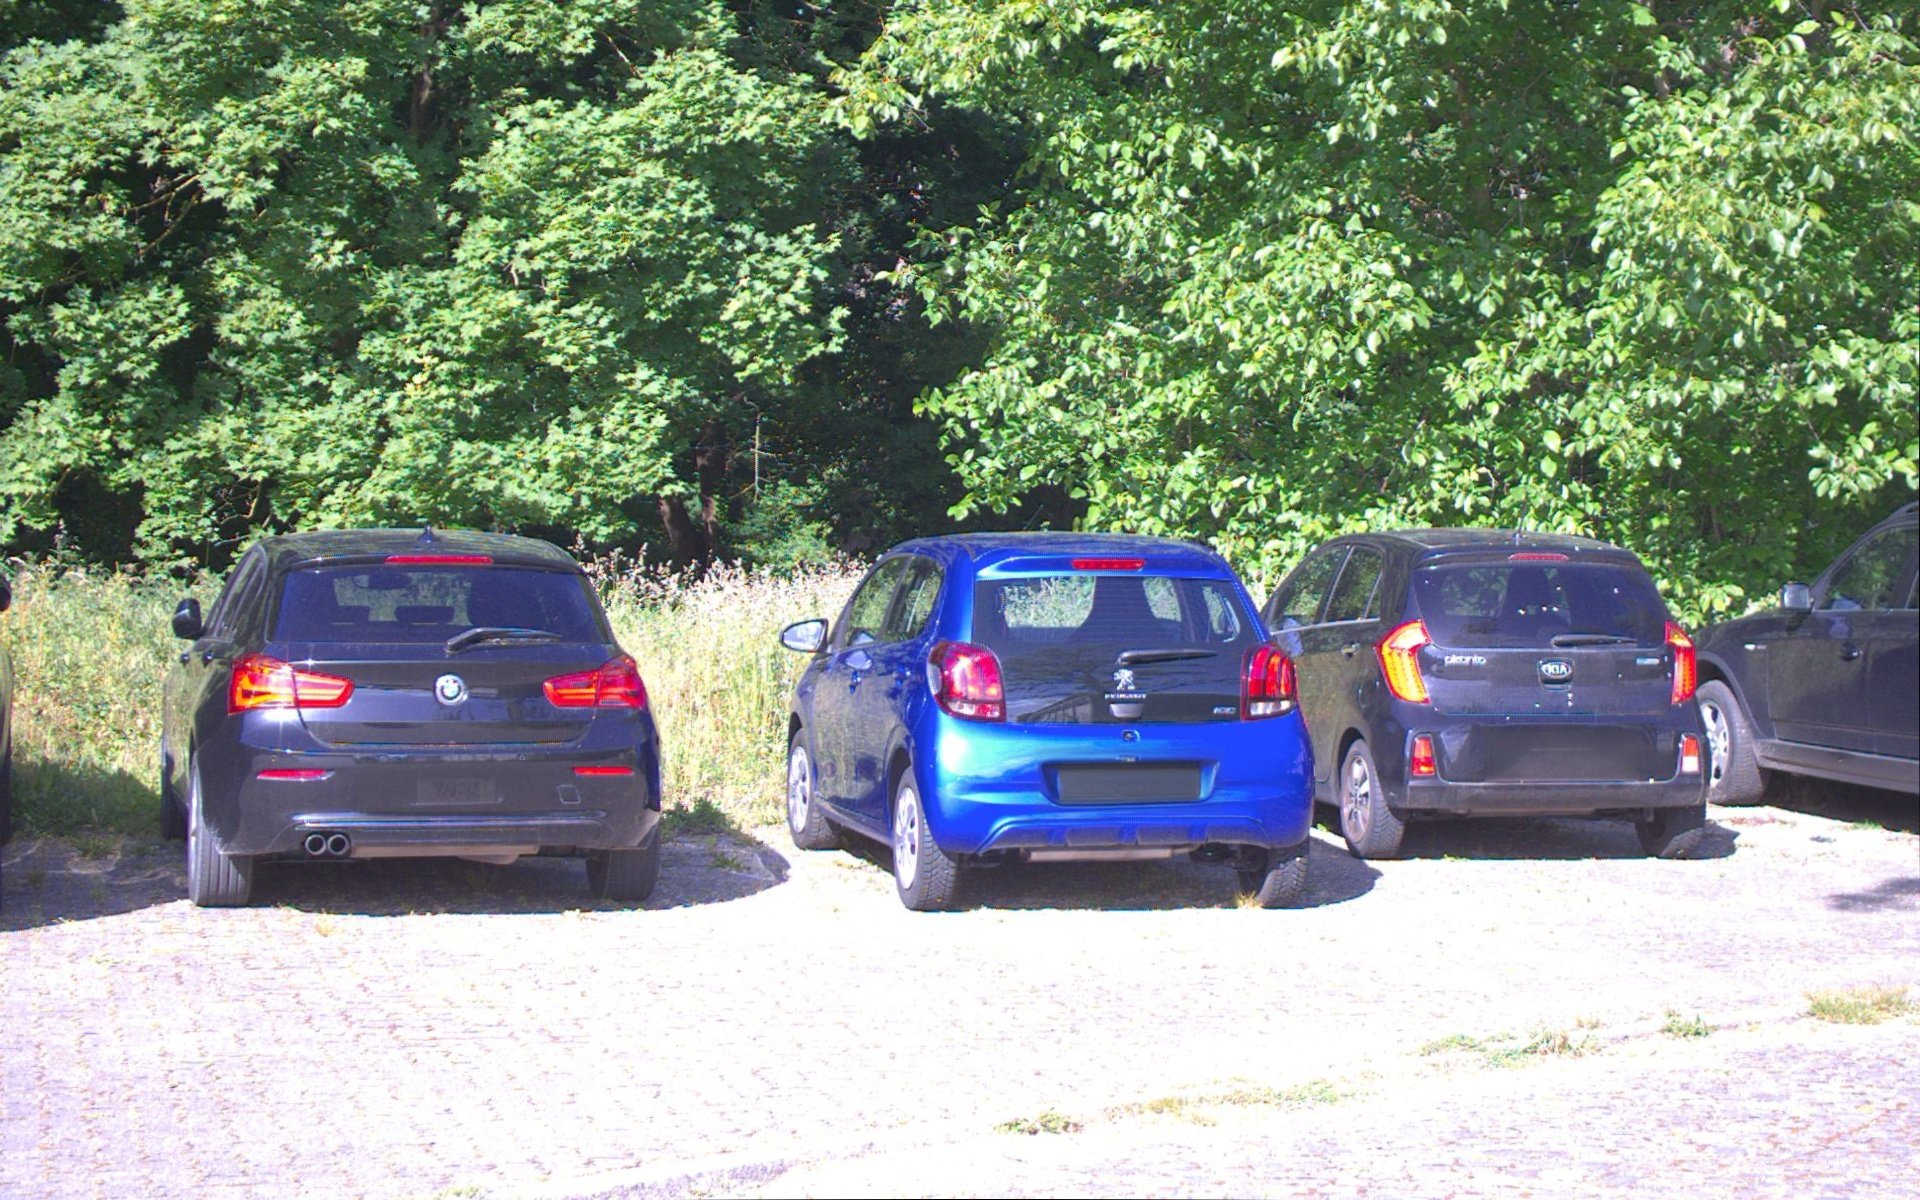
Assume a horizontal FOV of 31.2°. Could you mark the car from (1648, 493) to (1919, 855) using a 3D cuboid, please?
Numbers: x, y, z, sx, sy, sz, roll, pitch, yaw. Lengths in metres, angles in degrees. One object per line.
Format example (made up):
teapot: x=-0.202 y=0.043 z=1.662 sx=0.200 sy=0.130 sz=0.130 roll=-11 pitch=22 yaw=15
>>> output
car: x=5.178 y=0.332 z=16.919 sx=1.811 sy=1.650 sz=4.192 roll=0 pitch=2 yaw=-15

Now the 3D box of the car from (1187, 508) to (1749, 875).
car: x=2.328 y=0.350 z=16.656 sx=1.672 sy=1.510 sz=3.553 roll=0 pitch=3 yaw=-9

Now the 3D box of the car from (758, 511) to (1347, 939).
car: x=0.258 y=0.422 z=14.795 sx=1.708 sy=1.488 sz=3.665 roll=0 pitch=3 yaw=-12

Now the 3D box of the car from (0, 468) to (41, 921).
car: x=-4.597 y=0.316 z=13.232 sx=1.861 sy=1.635 sz=3.822 roll=0 pitch=1 yaw=-12

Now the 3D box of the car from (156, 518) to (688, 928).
car: x=-2.331 y=0.387 z=14.126 sx=1.827 sy=1.446 sz=3.665 roll=0 pitch=1 yaw=-14
